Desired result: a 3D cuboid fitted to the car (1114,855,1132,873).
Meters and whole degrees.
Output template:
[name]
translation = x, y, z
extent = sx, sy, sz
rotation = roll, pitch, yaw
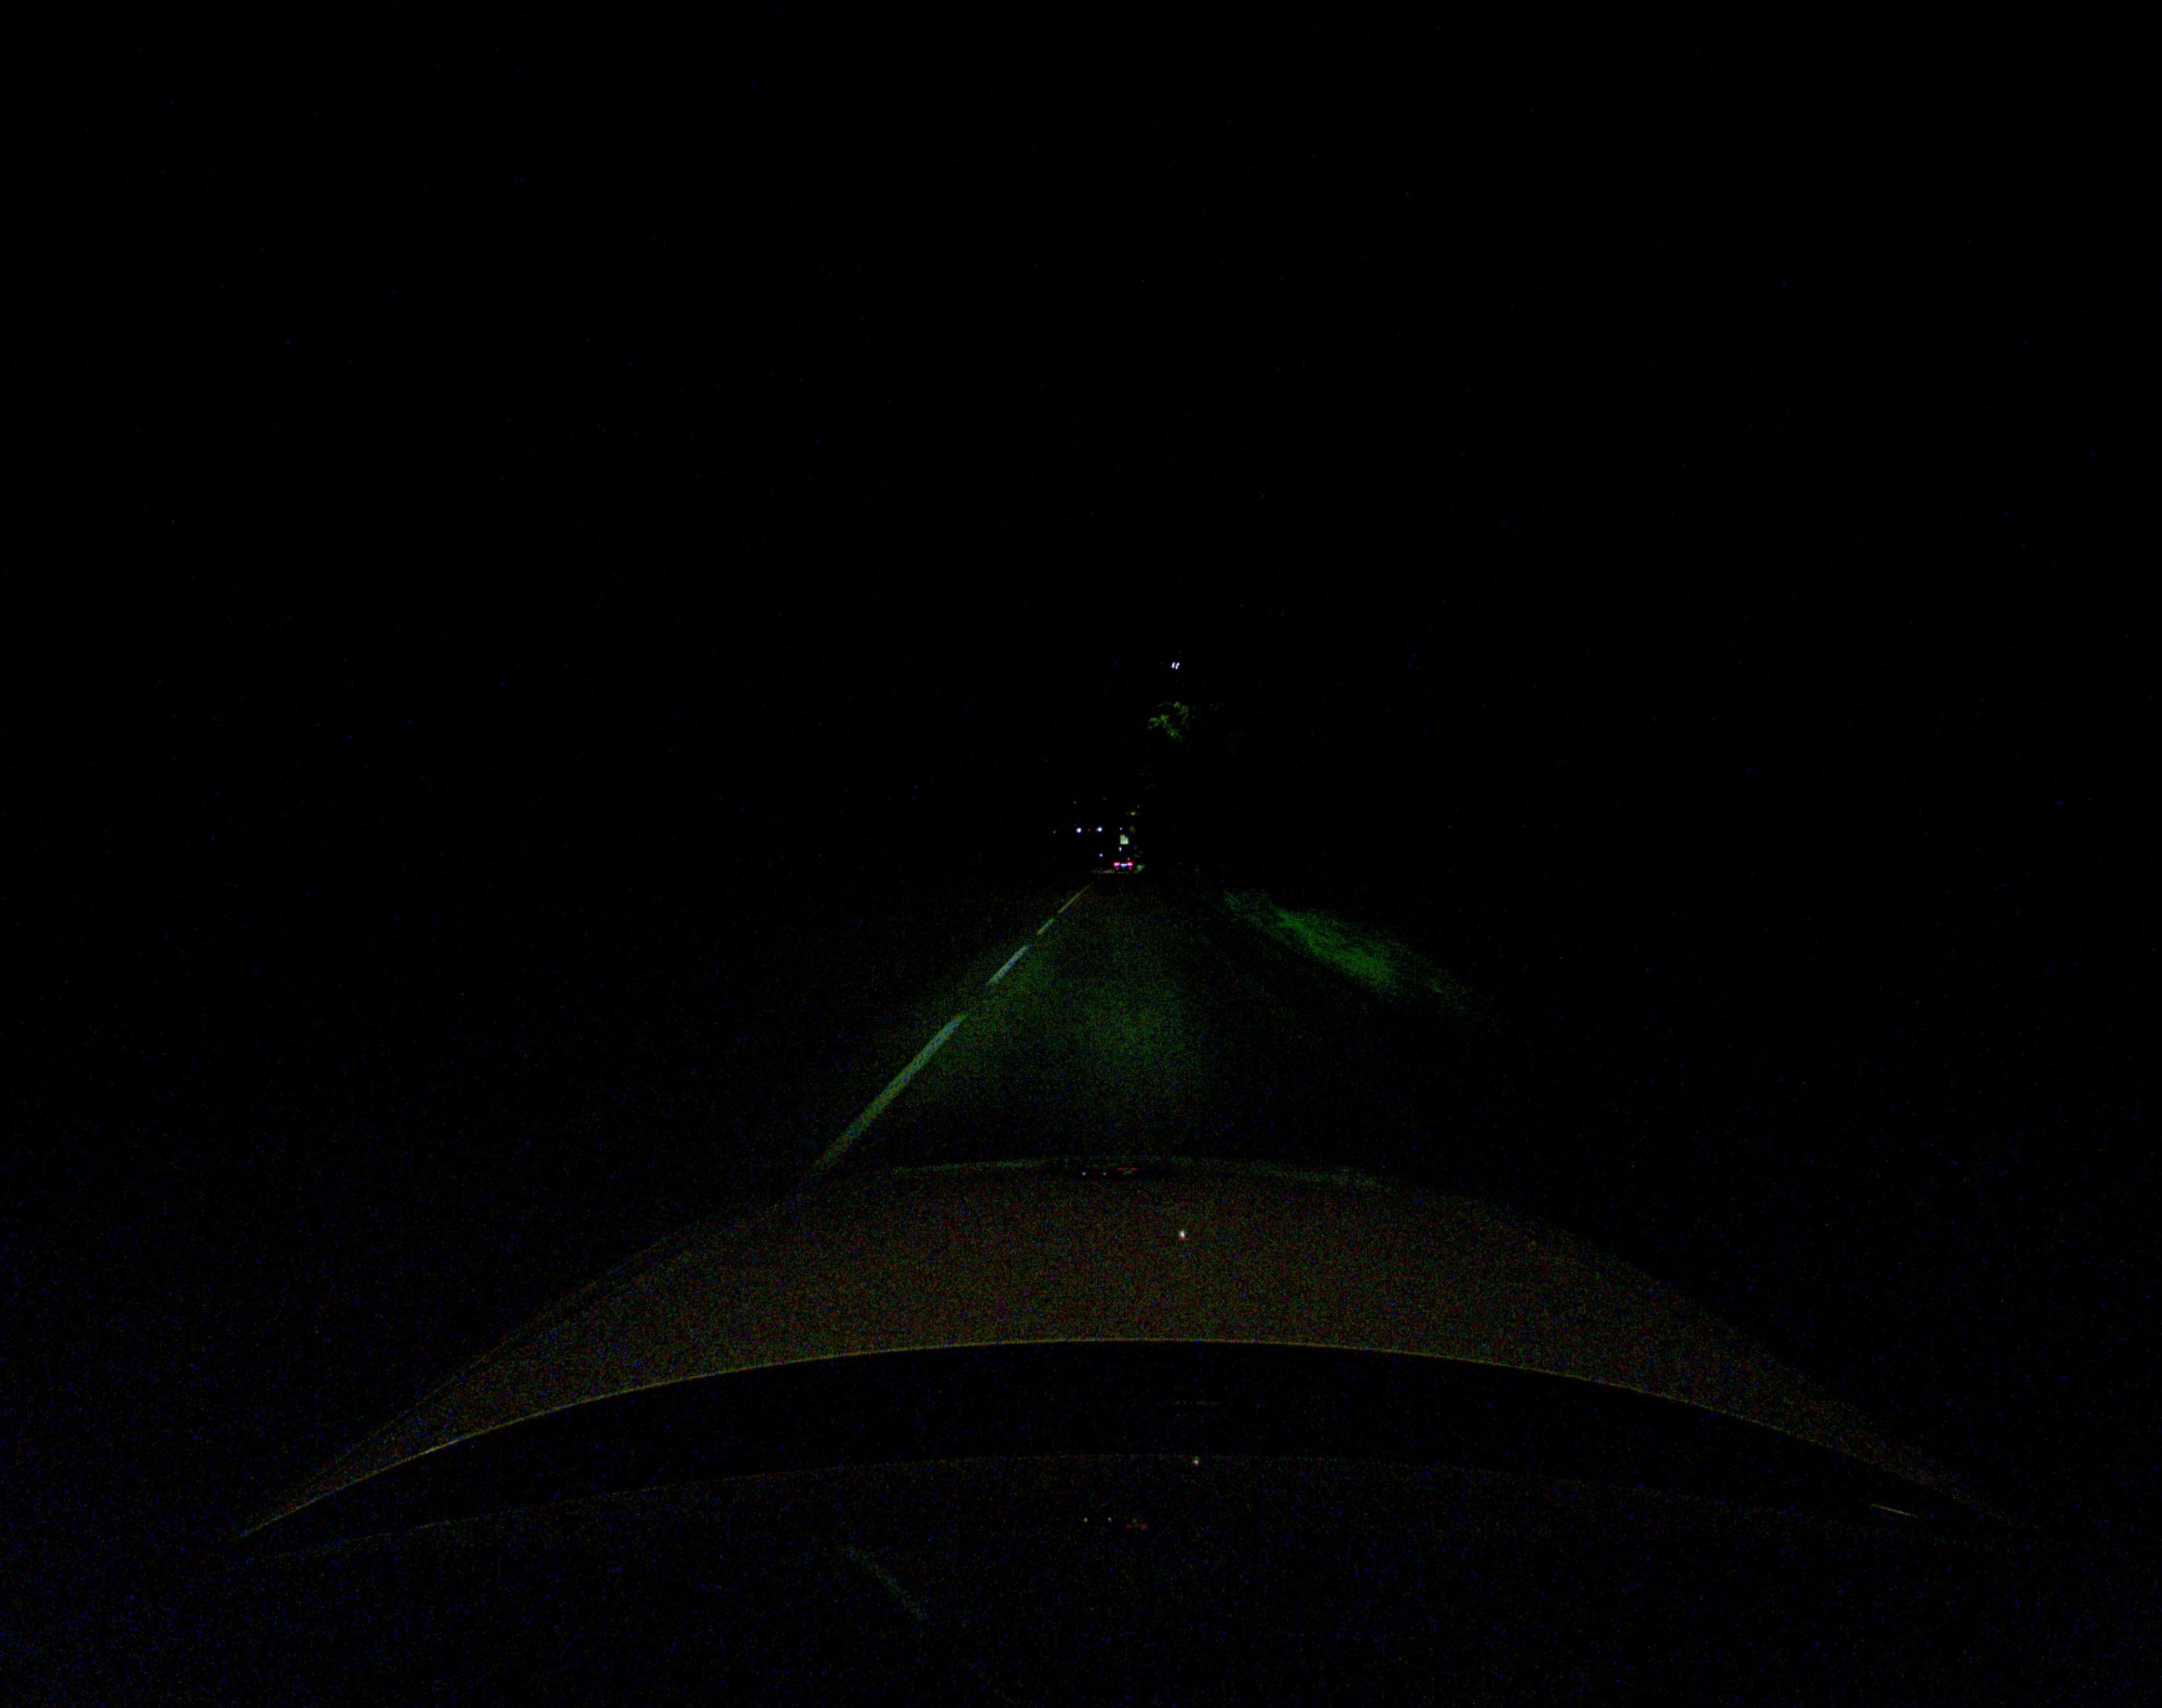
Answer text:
[car]
translation = 4.251, 0.989, 81.804
extent = 1.755, 1.641, 3.727
rotation = -1, 0, 4
